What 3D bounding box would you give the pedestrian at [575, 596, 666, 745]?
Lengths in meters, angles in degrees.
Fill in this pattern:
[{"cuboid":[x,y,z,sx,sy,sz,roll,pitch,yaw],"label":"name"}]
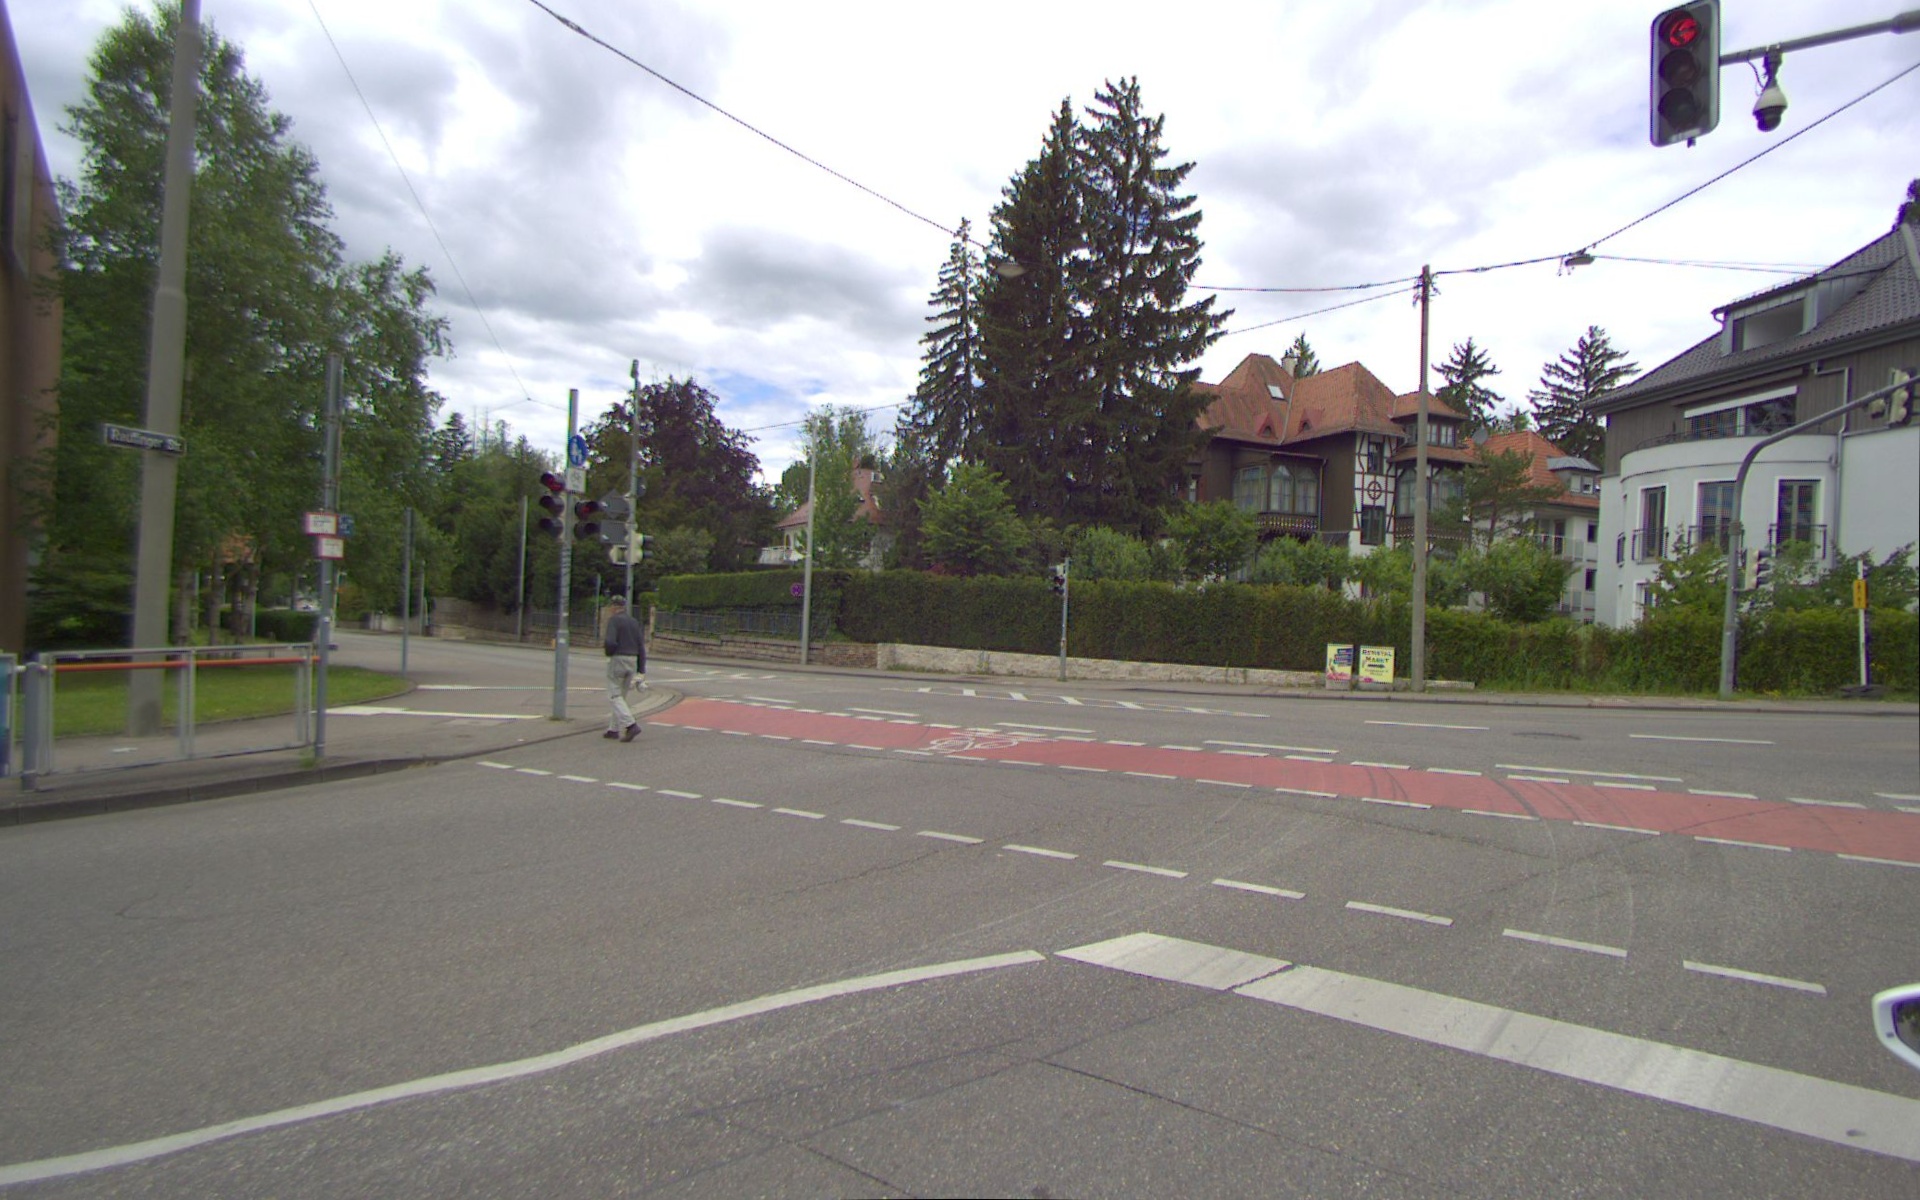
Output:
[{"cuboid":[-3.901,0.789,11.571,0.726,1.655,0.683,-1,-1,22],"label":"pedestrian"}]
